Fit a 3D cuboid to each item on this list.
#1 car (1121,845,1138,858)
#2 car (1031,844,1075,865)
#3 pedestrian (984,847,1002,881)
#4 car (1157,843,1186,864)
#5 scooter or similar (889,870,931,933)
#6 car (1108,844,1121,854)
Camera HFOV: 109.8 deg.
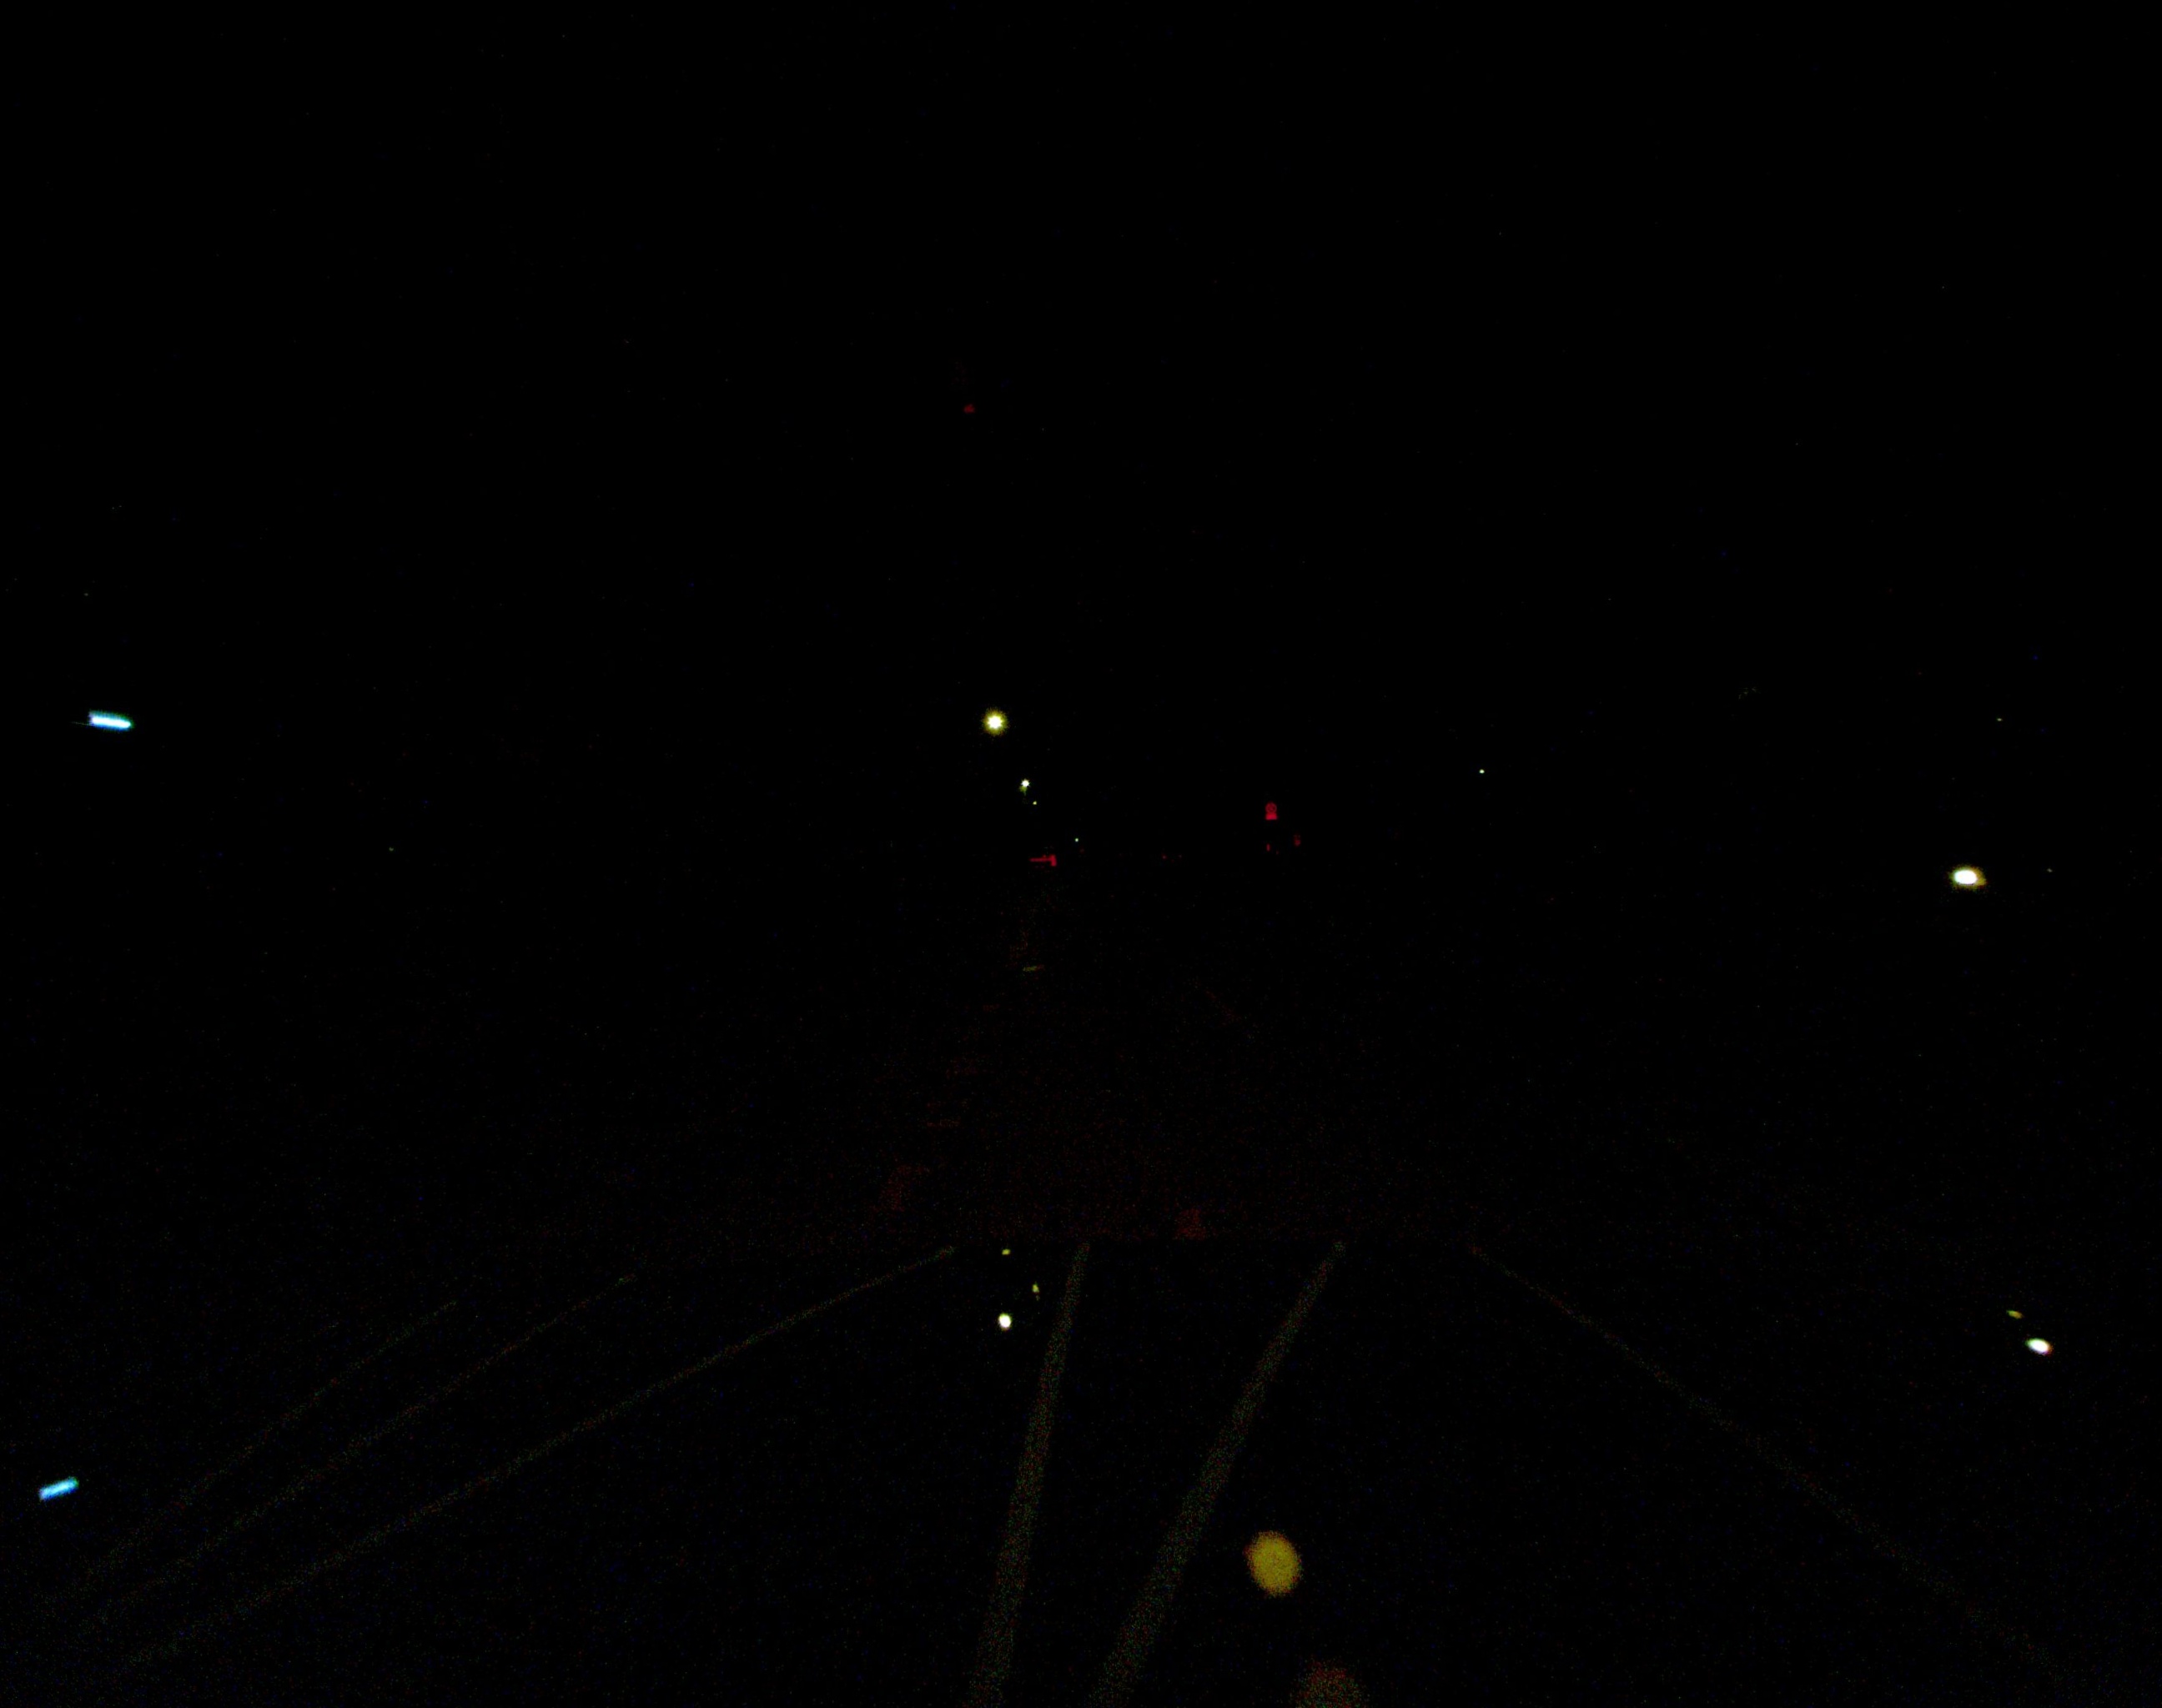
[{"bbox_3d":[6.392,-0.381,100.501,1.911,1.445,3.999,-3,2,1],"label":"car"},{"bbox_3d":[-2.588,0.038,70.814,3.997,1.821,1.912,-1,2,0],"label":"car"},{"bbox_3d":[-4.881,0.534,41.968,0.824,1.809,0.608,-3,2,1],"label":"pedestrian"},{"bbox_3d":[7.233,-0.054,61.004,1.911,1.445,3.999,-3,2,1],"label":"car"},{"bbox_3d":[-3.649,0.987,16.334,0.570,1.271,1.391,0,0,0],"label":"scooter or similar"},{"bbox_3d":[5.229,-0.794,118.380,1.911,1.445,3.999,-3,2,1],"label":"car"}]
